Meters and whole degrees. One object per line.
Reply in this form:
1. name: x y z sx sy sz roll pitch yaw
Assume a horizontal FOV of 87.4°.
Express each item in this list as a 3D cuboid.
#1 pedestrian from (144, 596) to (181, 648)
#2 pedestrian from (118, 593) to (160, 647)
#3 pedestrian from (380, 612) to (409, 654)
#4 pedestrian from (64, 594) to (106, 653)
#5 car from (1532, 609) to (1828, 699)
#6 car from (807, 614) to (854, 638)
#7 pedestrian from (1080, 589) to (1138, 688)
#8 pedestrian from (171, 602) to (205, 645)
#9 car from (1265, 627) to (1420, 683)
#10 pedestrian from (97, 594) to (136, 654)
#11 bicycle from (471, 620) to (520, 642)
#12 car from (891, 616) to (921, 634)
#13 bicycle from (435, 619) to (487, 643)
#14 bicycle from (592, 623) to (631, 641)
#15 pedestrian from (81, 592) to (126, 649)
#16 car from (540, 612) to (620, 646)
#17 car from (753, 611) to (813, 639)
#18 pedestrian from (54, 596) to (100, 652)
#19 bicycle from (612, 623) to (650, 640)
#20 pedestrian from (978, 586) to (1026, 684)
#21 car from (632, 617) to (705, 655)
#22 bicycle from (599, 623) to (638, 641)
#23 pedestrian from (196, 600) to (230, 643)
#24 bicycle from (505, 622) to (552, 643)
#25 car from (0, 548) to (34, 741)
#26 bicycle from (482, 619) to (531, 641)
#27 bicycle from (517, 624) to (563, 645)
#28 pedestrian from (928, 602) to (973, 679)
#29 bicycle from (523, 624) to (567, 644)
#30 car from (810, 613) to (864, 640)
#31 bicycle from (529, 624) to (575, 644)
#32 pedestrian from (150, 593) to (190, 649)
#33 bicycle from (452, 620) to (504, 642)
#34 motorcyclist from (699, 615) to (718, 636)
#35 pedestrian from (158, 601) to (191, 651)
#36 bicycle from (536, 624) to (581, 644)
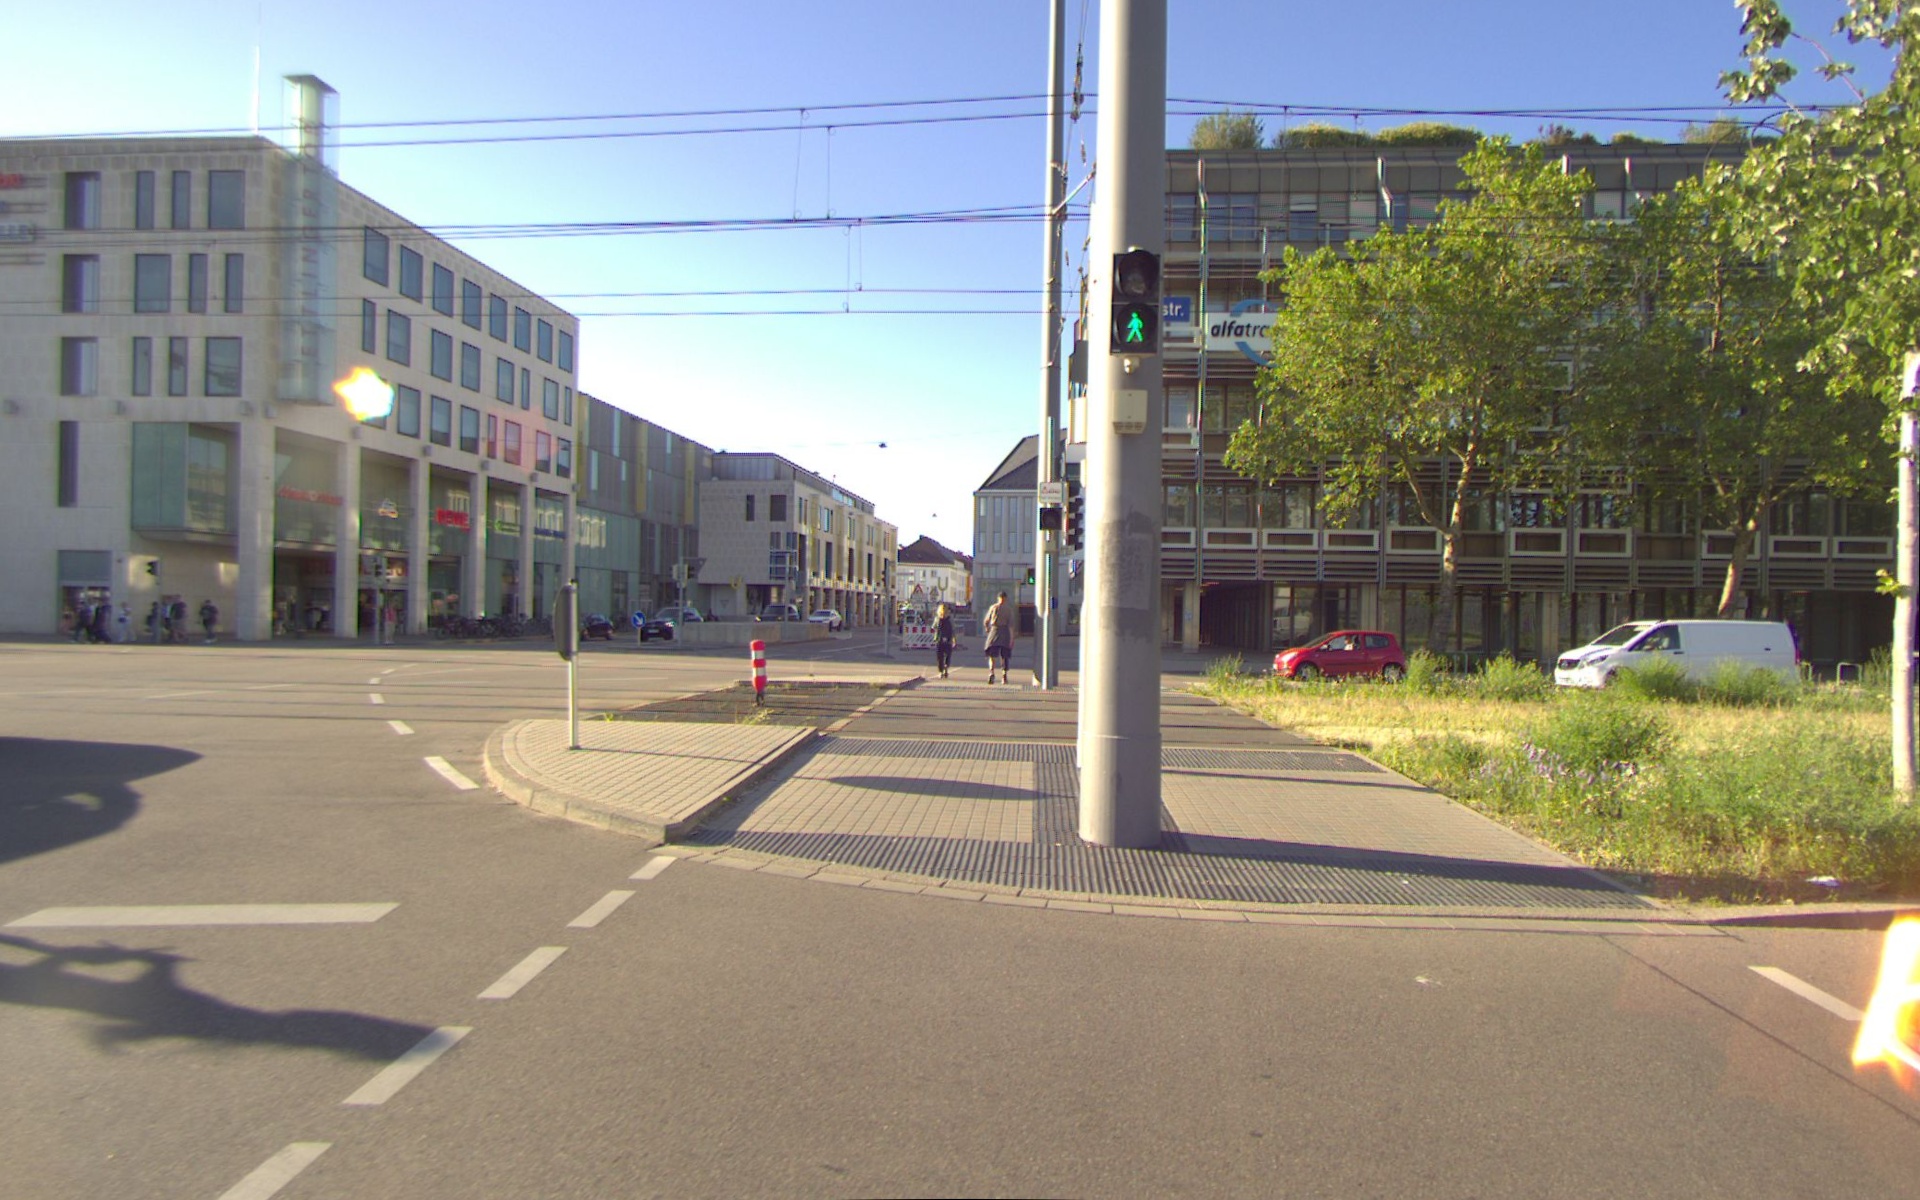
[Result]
1. pedestrian: -31.954 0.877 40.254 0.905 2.040 1.017 1 -1 -26
2. pedestrian: -33.118 0.811 40.537 0.881 2.152 0.946 1 -1 -6
3. pedestrian: -24.390 1.408 43.320 0.738 1.763 0.757 1 -1 7
4. pedestrian: -32.128 0.870 36.904 0.886 2.152 0.941 1 -1 -25
5. car: 17.777 1.342 25.102 5.593 2.040 2.268 1 -3 7
6. car: -9.775 2.005 76.189 2.137 1.714 5.619 1 -1 7
7. pedestrian: 3.041 0.767 20.458 0.995 1.936 1.051 1 0 17
8. pedestrian: -28.758 0.873 37.412 0.938 1.592 0.831 2 -1 -41
9. car: 10.909 1.583 28.894 3.801 1.505 1.848 0 -4 7
10. pedestrian: -31.162 0.885 37.133 0.888 2.152 0.939 1 -1 -30
11. bicycle: -24.415 1.607 52.775 2.425 1.125 0.684 1 -1 12
12. car: -4.623 2.161 86.812 1.903 1.469 4.265 1 -1 6
13. bicycle: -24.877 1.553 50.102 2.361 1.127 0.658 1 0 9
14. bicycle: -22.918 2.108 66.065 2.425 1.125 0.661 1 0 11
15. pedestrian: -33.027 0.789 38.738 0.881 2.152 0.947 1 -1 -1
16. car: -18.926 1.415 50.235 1.904 1.602 4.297 1 -1 8
17. car: -11.415 1.614 65.207 2.137 1.714 5.491 1 -1 9
18. pedestrian: -34.374 0.934 39.097 0.880 2.152 0.947 1 -1 3
19. bicycle: -22.508 2.167 68.690 2.425 1.125 0.661 1 0 11
20. pedestrian: 0.775 0.639 18.632 0.841 1.767 0.739 1 0 2
21. car: -13.966 1.682 48.299 1.904 1.699 4.297 1 -1 5
22. bicycle: -22.728 2.132 66.781 2.425 1.125 0.661 1 0 11
23. pedestrian: -29.813 0.854 40.085 0.997 1.673 0.940 2 -1 -34
24. bicycle: -23.753 1.798 55.298 2.425 1.125 0.684 1 -1 11
25. car: -9.642 0.342 6.751 2.157 1.684 4.795 1 -1 5
26. bicycle: -24.191 1.606 53.557 2.425 1.125 0.684 1 -1 11
27. bicycle: -23.783 1.937 56.886 2.425 1.125 0.594 1 0 11
28. pedestrian: -0.196 0.845 21.298 0.880 1.570 0.924 1 1 3
29. bicycle: -23.745 1.948 57.432 2.425 1.125 0.538 1 0 11
30. car: -8.231 1.793 67.846 2.137 1.714 5.491 1 -1 9
31. bicycle: -23.591 1.964 58.098 2.425 1.125 0.684 1 -1 11
32. pedestrian: -30.982 0.835 39.424 1.051 2.157 1.089 1 -1 -31
33. bicycle: -24.680 1.582 51.435 2.425 1.125 0.684 1 -1 10
34. motorcyclist: -19.771 1.994 78.924 1.118 1.596 0.917 2 -1 3
35. pedestrian: -32.369 1.081 41.403 0.906 2.040 1.015 1 -1 -30
36. bicycle: -23.526 1.971 58.875 2.425 1.125 0.684 1 -1 11
